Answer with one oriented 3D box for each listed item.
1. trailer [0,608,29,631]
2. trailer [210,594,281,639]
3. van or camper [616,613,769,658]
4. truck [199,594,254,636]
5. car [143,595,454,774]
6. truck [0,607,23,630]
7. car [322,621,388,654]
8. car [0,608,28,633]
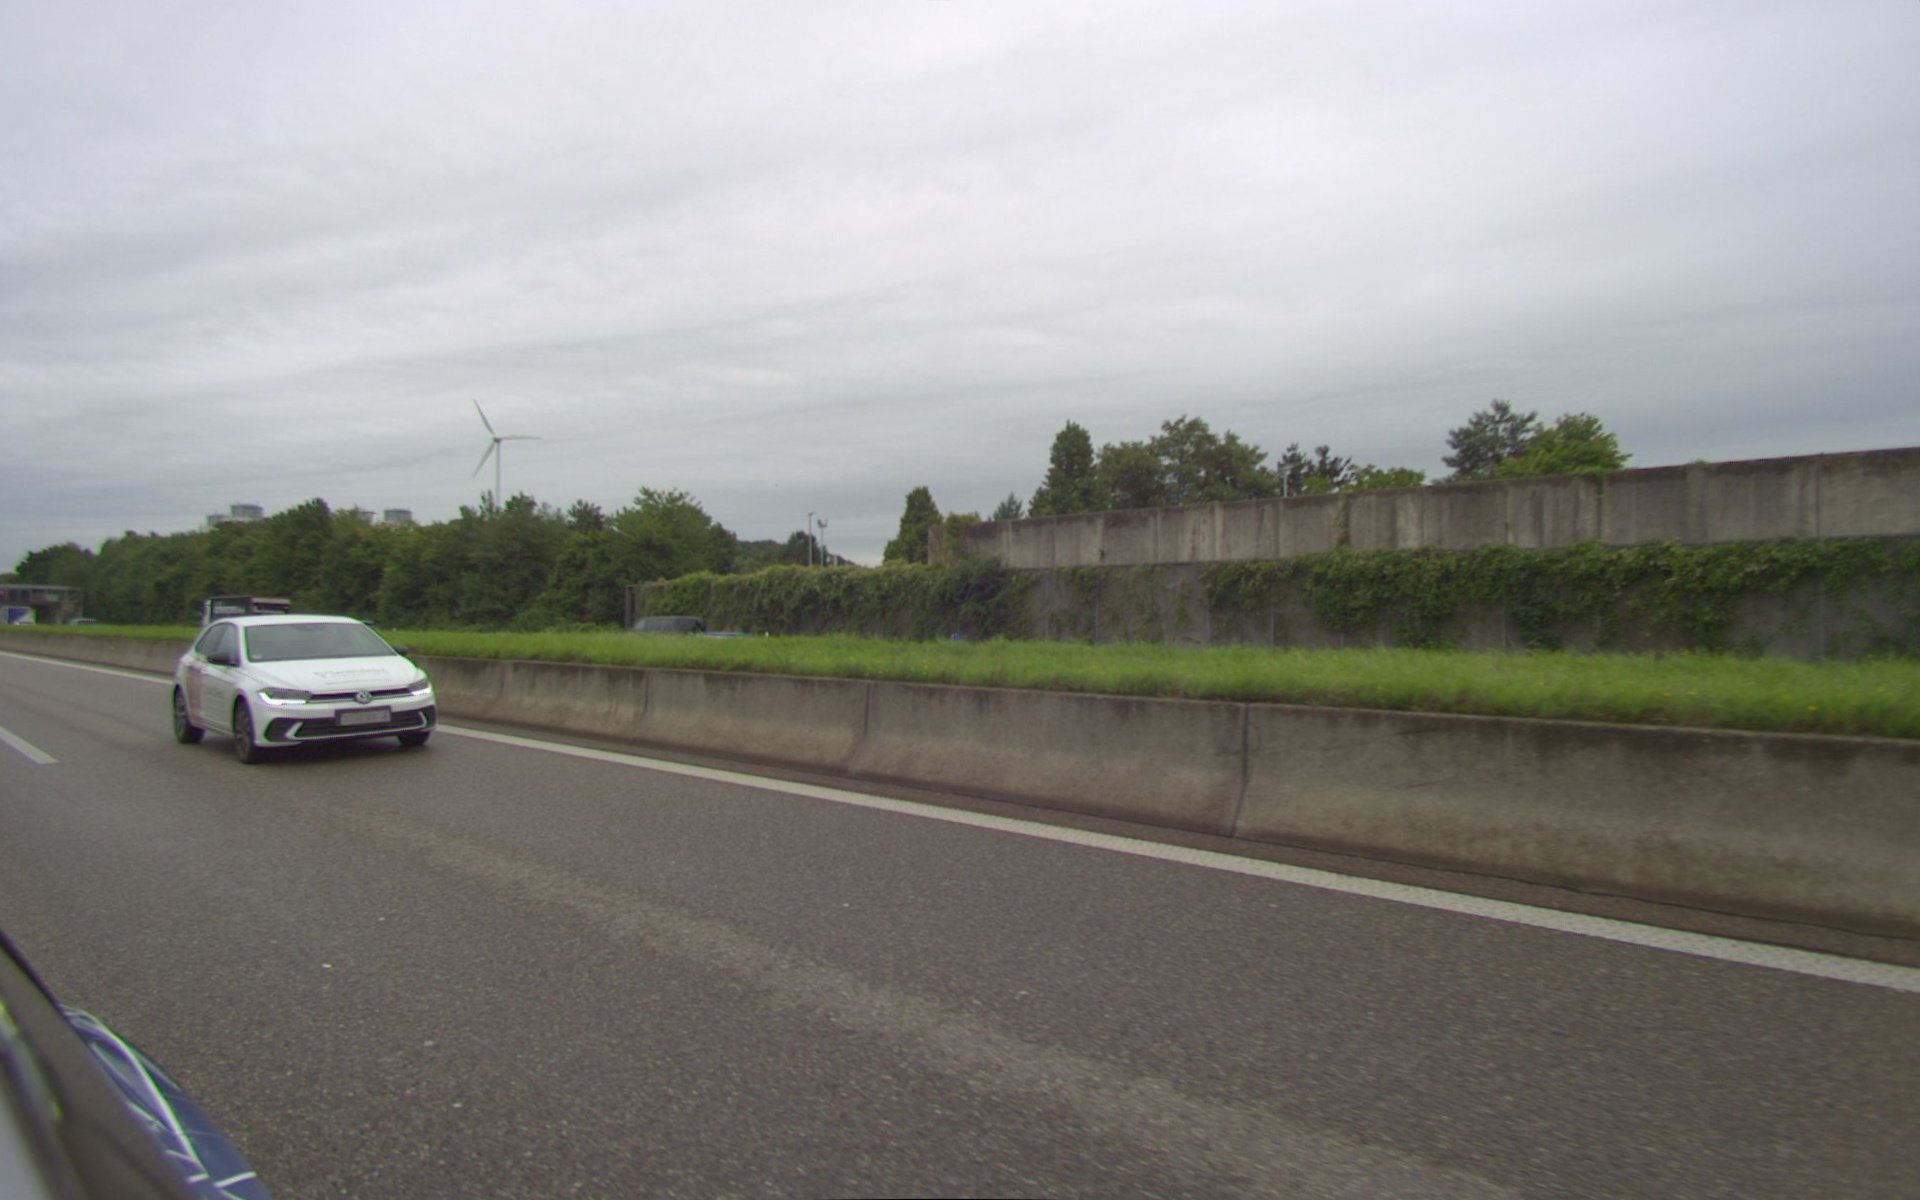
[{"bbox_3d":[-132.982,2.657,141.983,7.870,3.100,2.748,-1,0,42],"label":"trailer"},{"bbox_3d":[-56.132,1.232,79.405,10.560,3.314,2.282,-1,0,42],"label":"trailer"},{"bbox_3d":[-12.044,1.499,44.997,8.431,1.814,2.169,-1,0,41],"label":"van or camper"},{"bbox_3d":[-60.427,1.221,83.289,6.580,3.297,2.291,-1,0,42],"label":"truck"},{"bbox_3d":[-7.608,0.816,11.434,4.661,1.630,1.735,-1,-2,41],"label":"car"},{"bbox_3d":[-140.120,2.680,148.469,11.355,3.245,2.853,-1,0,42],"label":"truck"},{"bbox_3d":[-32.581,1.972,54.468,4.290,1.645,1.765,-1,0,40],"label":"car"},{"bbox_3d":[-112.254,2.408,119.621,7.313,2.755,2.297,-1,0,42],"label":"car"}]
